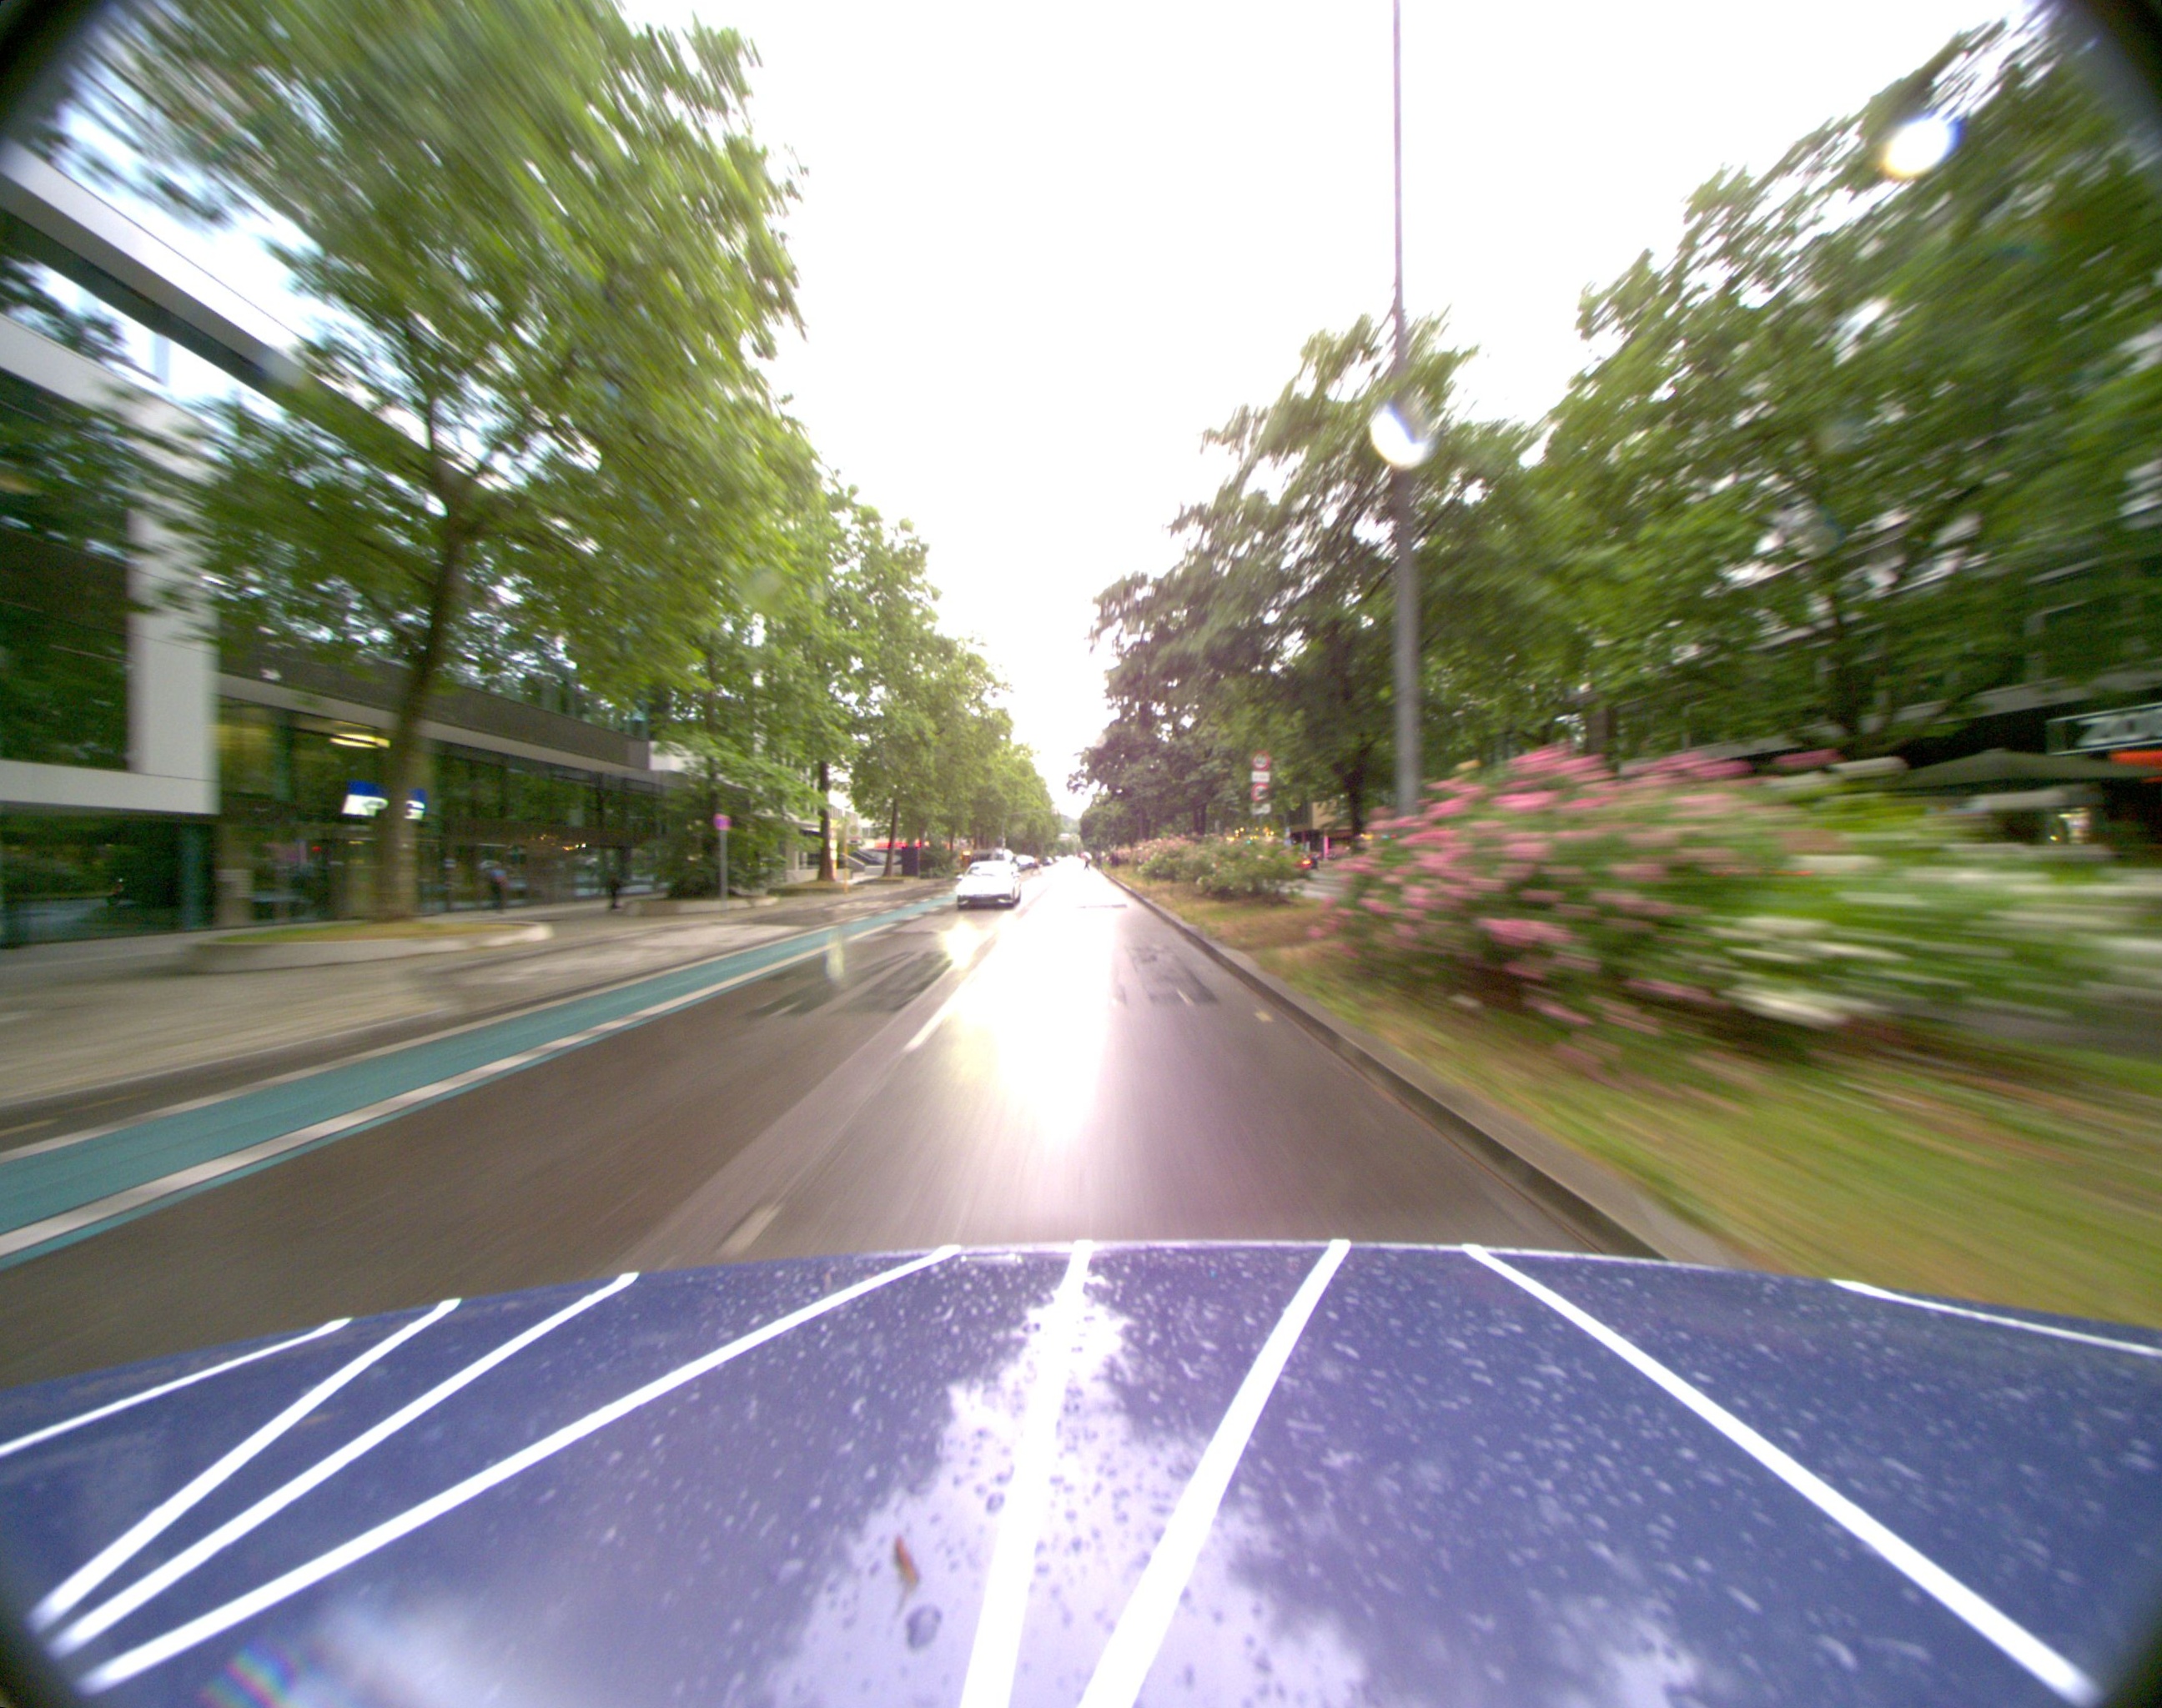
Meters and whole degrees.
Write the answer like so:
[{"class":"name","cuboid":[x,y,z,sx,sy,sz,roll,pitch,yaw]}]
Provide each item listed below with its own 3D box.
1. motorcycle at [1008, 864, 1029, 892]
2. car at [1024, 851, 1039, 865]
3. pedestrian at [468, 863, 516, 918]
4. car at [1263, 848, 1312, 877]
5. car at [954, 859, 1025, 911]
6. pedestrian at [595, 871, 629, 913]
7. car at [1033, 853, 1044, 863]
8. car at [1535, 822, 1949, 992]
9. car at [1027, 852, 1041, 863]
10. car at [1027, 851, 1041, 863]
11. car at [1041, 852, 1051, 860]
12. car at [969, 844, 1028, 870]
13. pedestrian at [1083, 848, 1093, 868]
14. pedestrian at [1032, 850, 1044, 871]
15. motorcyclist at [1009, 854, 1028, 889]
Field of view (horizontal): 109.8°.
[{"class":"motorcycle","cuboid":[-2.873,1.094,35.207,0.744,1.194,2.235,-2,1,0]},{"class":"car","cuboid":[-5.877,0.473,90.758,1.598,1.517,3.425,-2,0,0]},{"class":"pedestrian","cuboid":[-19.552,1.194,25.249,0.789,1.783,1.086,1,0,-5]},{"class":"car","cuboid":[11.282,0.432,41.742,1.642,1.456,4.034,-2,0,1]},{"class":"car","cuboid":[-2.935,0.962,25.091,1.795,1.463,3.793,-2,0,1]},{"class":"pedestrian","cuboid":[-17.299,1.378,28.026,0.588,1.496,1.005,-1,0,1]},{"class":"car","cuboid":[-6.828,0.643,122.082,1.598,1.517,3.425,-2,0,0]},{"class":"car","cuboid":[7.774,0.518,9.562,1.726,1.628,4.014,-2,0,1]},{"class":"car","cuboid":[-6.437,0.498,104.655,1.598,1.517,3.425,-2,0,0]},{"class":"car","cuboid":[-6.118,0.393,99.723,1.598,1.506,3.425,-2,0,0]},{"class":"car","cuboid":[-6.735,0.306,146.571,1.598,1.517,3.425,-2,0,0]},{"class":"car","cuboid":[-8.812,0.332,80.990,6.268,2.665,2.326,-1,1,36]},{"class":"pedestrian","cuboid":[0.688,0.384,74.541,0.892,1.839,0.787,-2,1,-9]},{"class":"pedestrian","cuboid":[-3.926,0.606,69.439,0.891,1.839,0.721,-2,1,6]},{"class":"motorcyclist","cuboid":[-2.888,0.801,35.109,0.744,1.575,1.059,-2,1,0]}]
